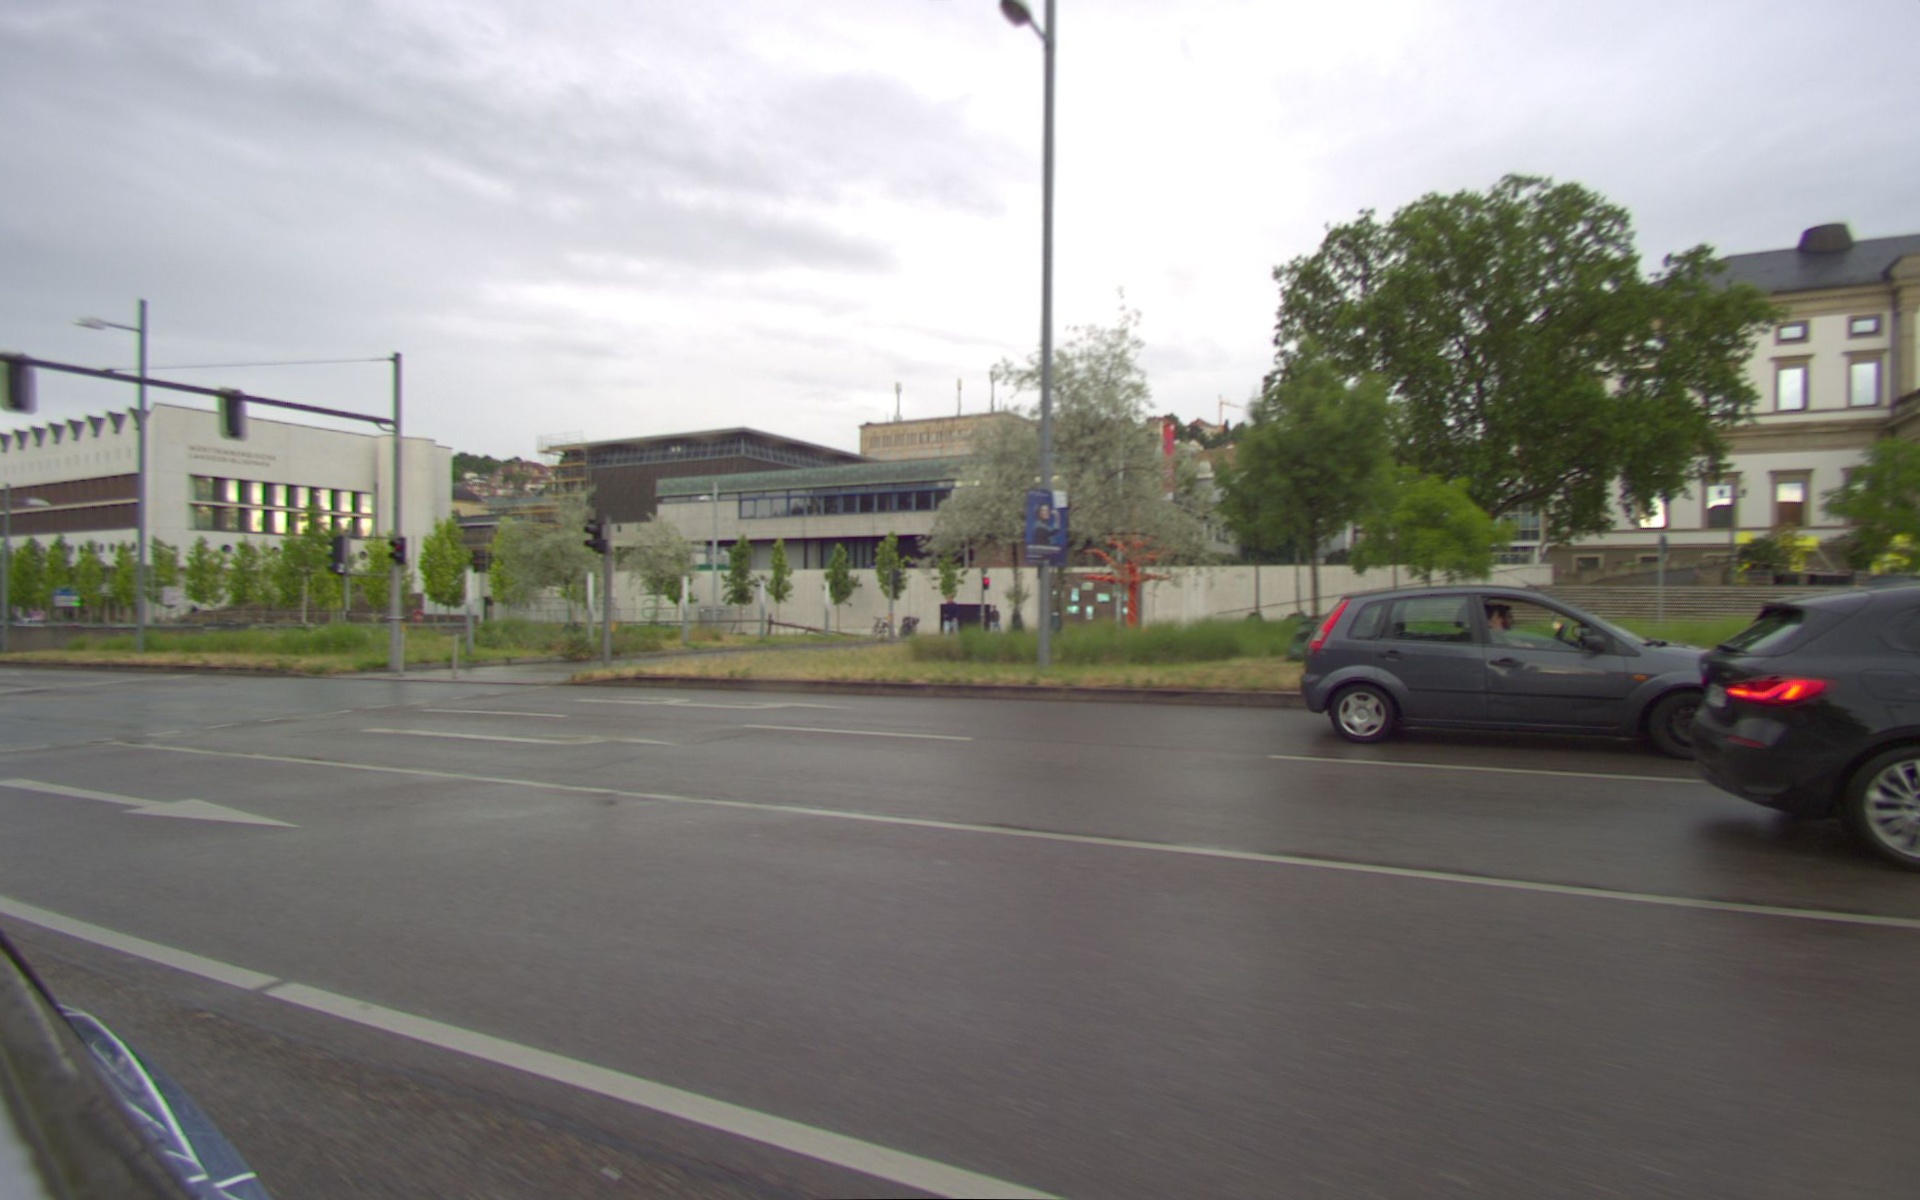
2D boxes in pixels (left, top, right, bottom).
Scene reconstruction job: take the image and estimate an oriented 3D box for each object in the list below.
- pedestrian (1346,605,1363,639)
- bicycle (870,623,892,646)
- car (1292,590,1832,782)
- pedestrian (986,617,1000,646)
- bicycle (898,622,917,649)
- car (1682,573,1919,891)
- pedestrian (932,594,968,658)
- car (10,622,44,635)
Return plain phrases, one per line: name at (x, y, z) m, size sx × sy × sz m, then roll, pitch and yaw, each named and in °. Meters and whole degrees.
pedestrian at (16.955, 0.947, 43.476) m, size 0.630 × 1.433 × 0.489 m, roll 0°, pitch 1°, yaw 26°
bicycle at (-4.257, 1.877, 54.720) m, size 0.526 × 1.170 × 1.692 m, roll 0°, pitch 1°, yaw 21°
car at (5.149, 0.639, 9.155) m, size 3.884 × 1.426 × 1.532 m, roll 0°, pitch 0°, yaw 29°
pedestrian at (1.600, 1.542, 49.395) m, size 0.460 × 1.393 × 0.578 m, roll 0°, pitch 1°, yaw -31°
bicycle at (-2.741, 1.861, 53.182) m, size 0.552 × 1.317 × 1.474 m, roll 0°, pitch 1°, yaw 15°
car at (6.142, 0.562, 4.772) m, size 4.203 × 1.482 × 1.742 m, roll -2°, pitch 0°, yaw 29°
pedestrian at (-0.344, 0.888, 34.864) m, size 0.758 × 2.107 × 0.727 m, roll -3°, pitch -3°, yaw -43°
car at (-88.011, 2.713, 95.464) m, size 3.005 × 1.122 × 1.432 m, roll 0°, pitch 1°, yaw 26°
